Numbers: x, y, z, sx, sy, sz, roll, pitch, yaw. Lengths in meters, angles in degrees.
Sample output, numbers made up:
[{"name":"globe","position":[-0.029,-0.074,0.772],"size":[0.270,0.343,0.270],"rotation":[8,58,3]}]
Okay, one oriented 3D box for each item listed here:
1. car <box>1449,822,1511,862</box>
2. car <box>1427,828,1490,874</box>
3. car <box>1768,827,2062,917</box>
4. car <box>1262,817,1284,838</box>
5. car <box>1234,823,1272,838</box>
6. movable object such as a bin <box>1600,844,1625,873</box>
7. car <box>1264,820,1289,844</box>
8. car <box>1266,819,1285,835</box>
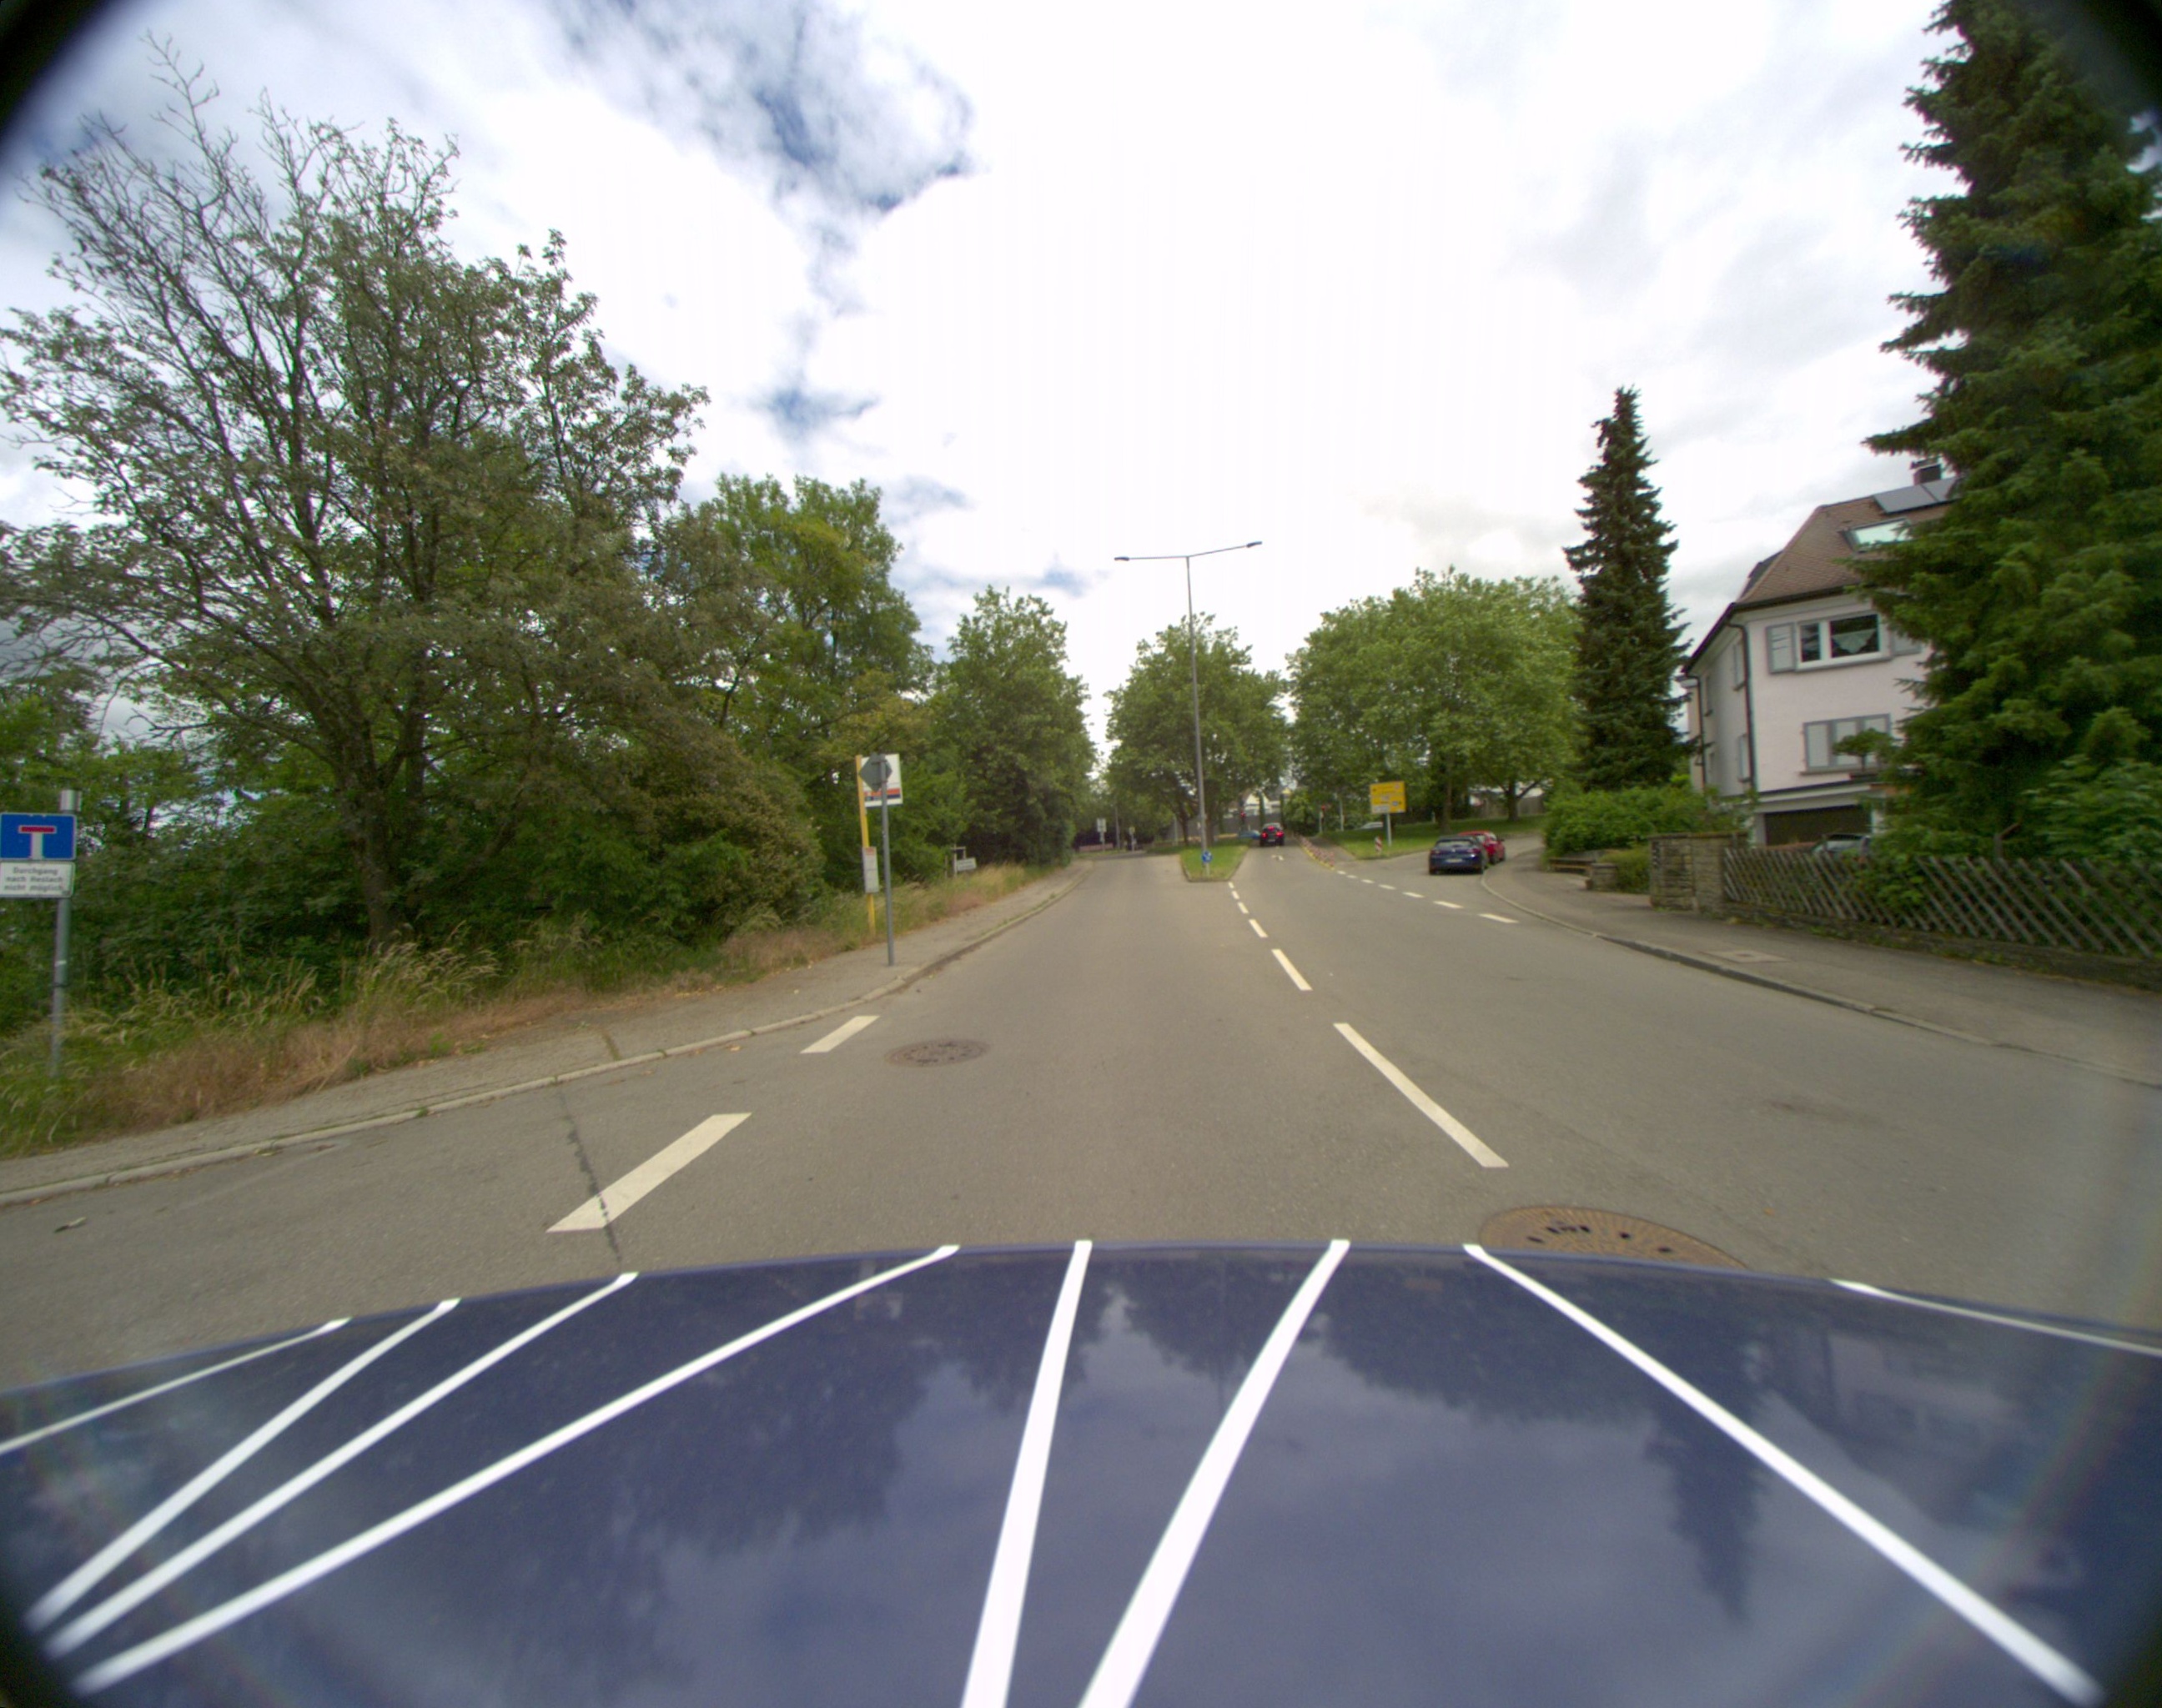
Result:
[{"name":"car","position":[17.499,-0.571,33.240],"size":[1.728,1.465,4.285],"rotation":[-3,2,36]},{"name":"car","position":[14.492,-0.148,29.062],"size":[1.728,1.465,4.321],"rotation":[-3,2,31]},{"name":"car","position":[15.949,0.301,14.750],"size":[3.359,1.528,1.831],"rotation":[2,1,13]},{"name":"car","position":[18.549,-2.530,73.410],"size":[1.854,1.648,4.912],"rotation":[-4,-1,15]},{"name":"car","position":[21.006,-2.842,92.951],"size":[4.137,1.420,1.801],"rotation":[-5,-4,45]},{"name":"movable object such as a bin","position":[15.908,0.124,22.752],"size":[0.317,0.830,0.588],"rotation":[-4,1,5]},{"name":"car","position":[16.260,-1.855,63.174],"size":[1.760,1.583,4.615],"rotation":[-4,3,15]},{"name":"car","position":[20.454,-2.888,79.779],"size":[1.760,1.509,4.390],"rotation":[-4,1,15]}]
